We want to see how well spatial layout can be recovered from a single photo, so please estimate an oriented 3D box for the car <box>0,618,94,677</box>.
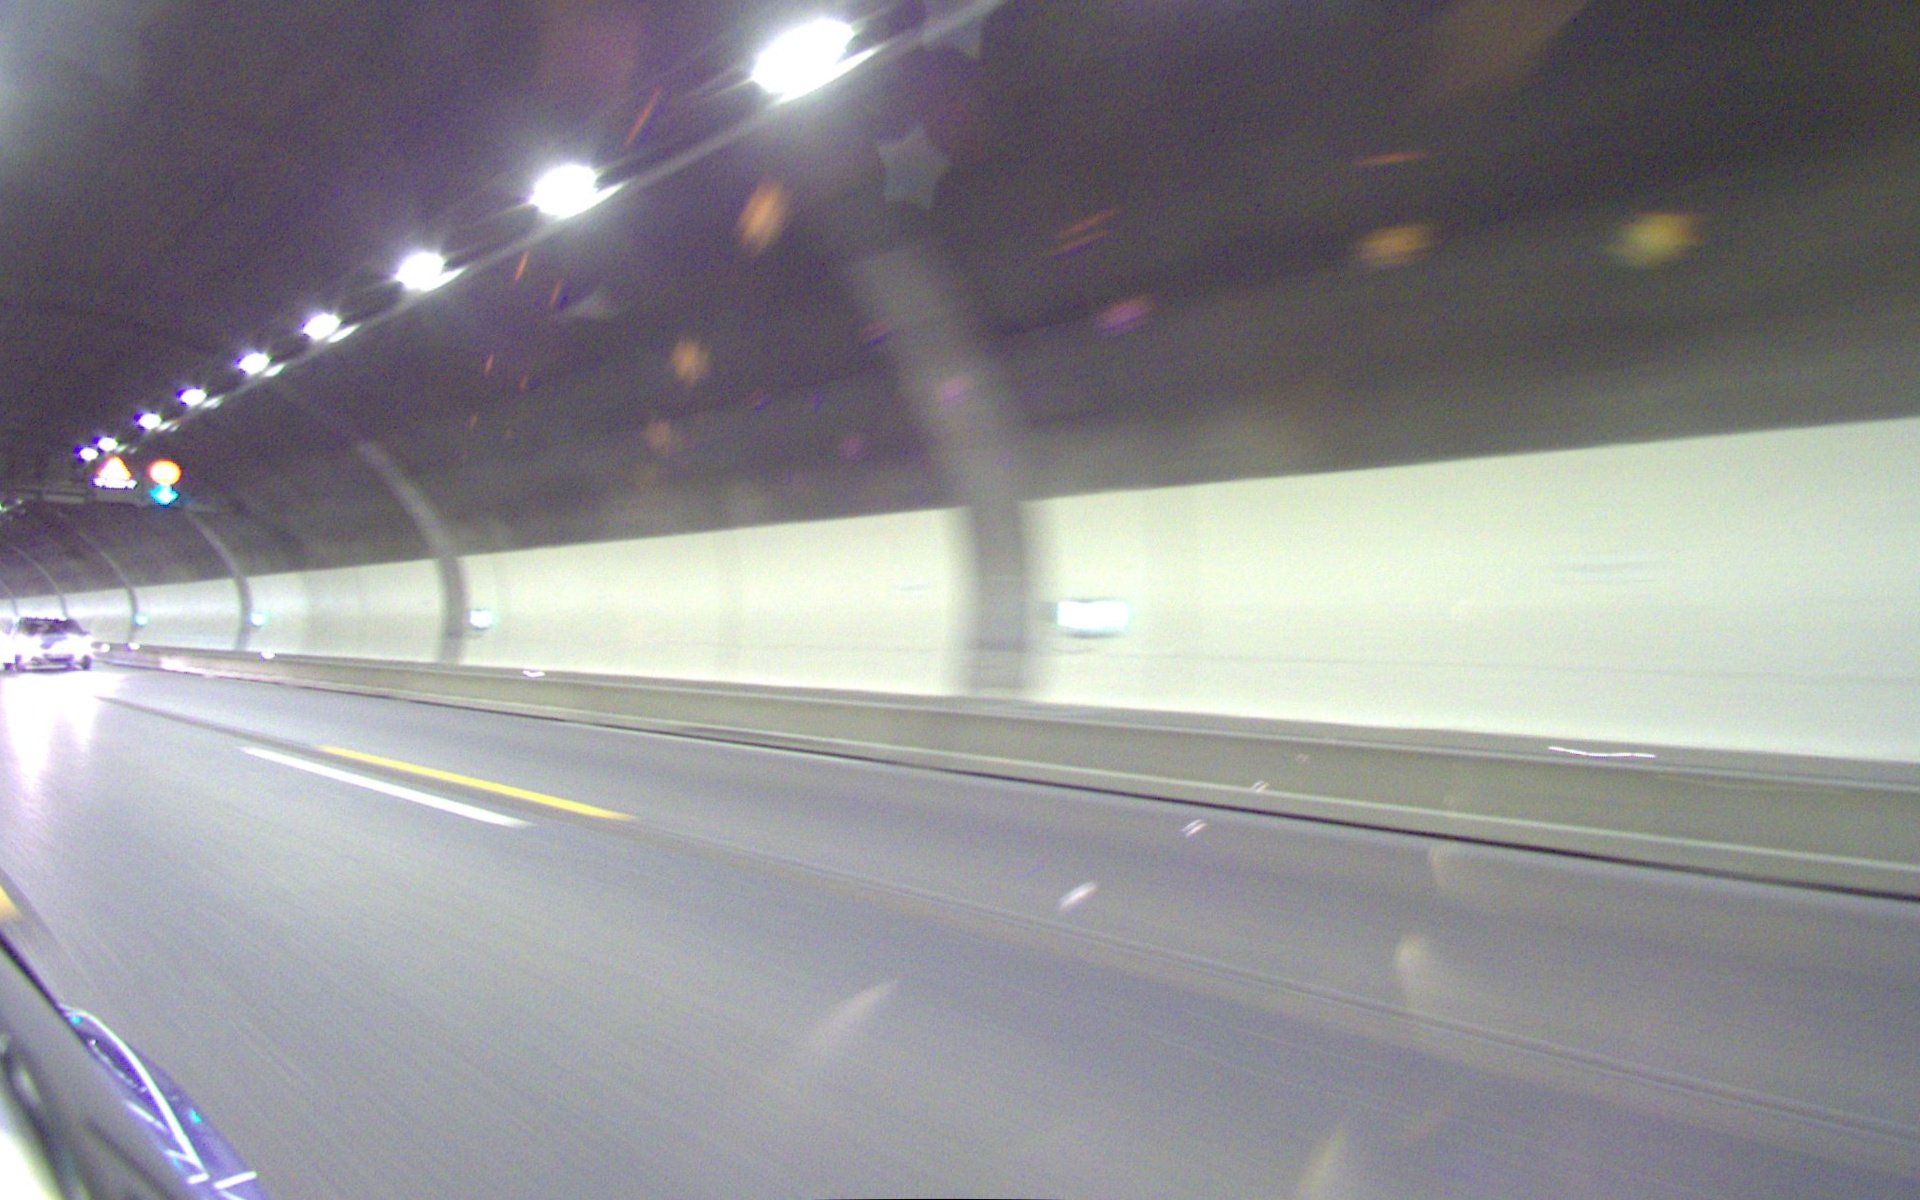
[{"bbox_3d":[-26.907,1.322,29.550,4.092,1.584,1.745,-1,-1,39],"label":"car"}]
